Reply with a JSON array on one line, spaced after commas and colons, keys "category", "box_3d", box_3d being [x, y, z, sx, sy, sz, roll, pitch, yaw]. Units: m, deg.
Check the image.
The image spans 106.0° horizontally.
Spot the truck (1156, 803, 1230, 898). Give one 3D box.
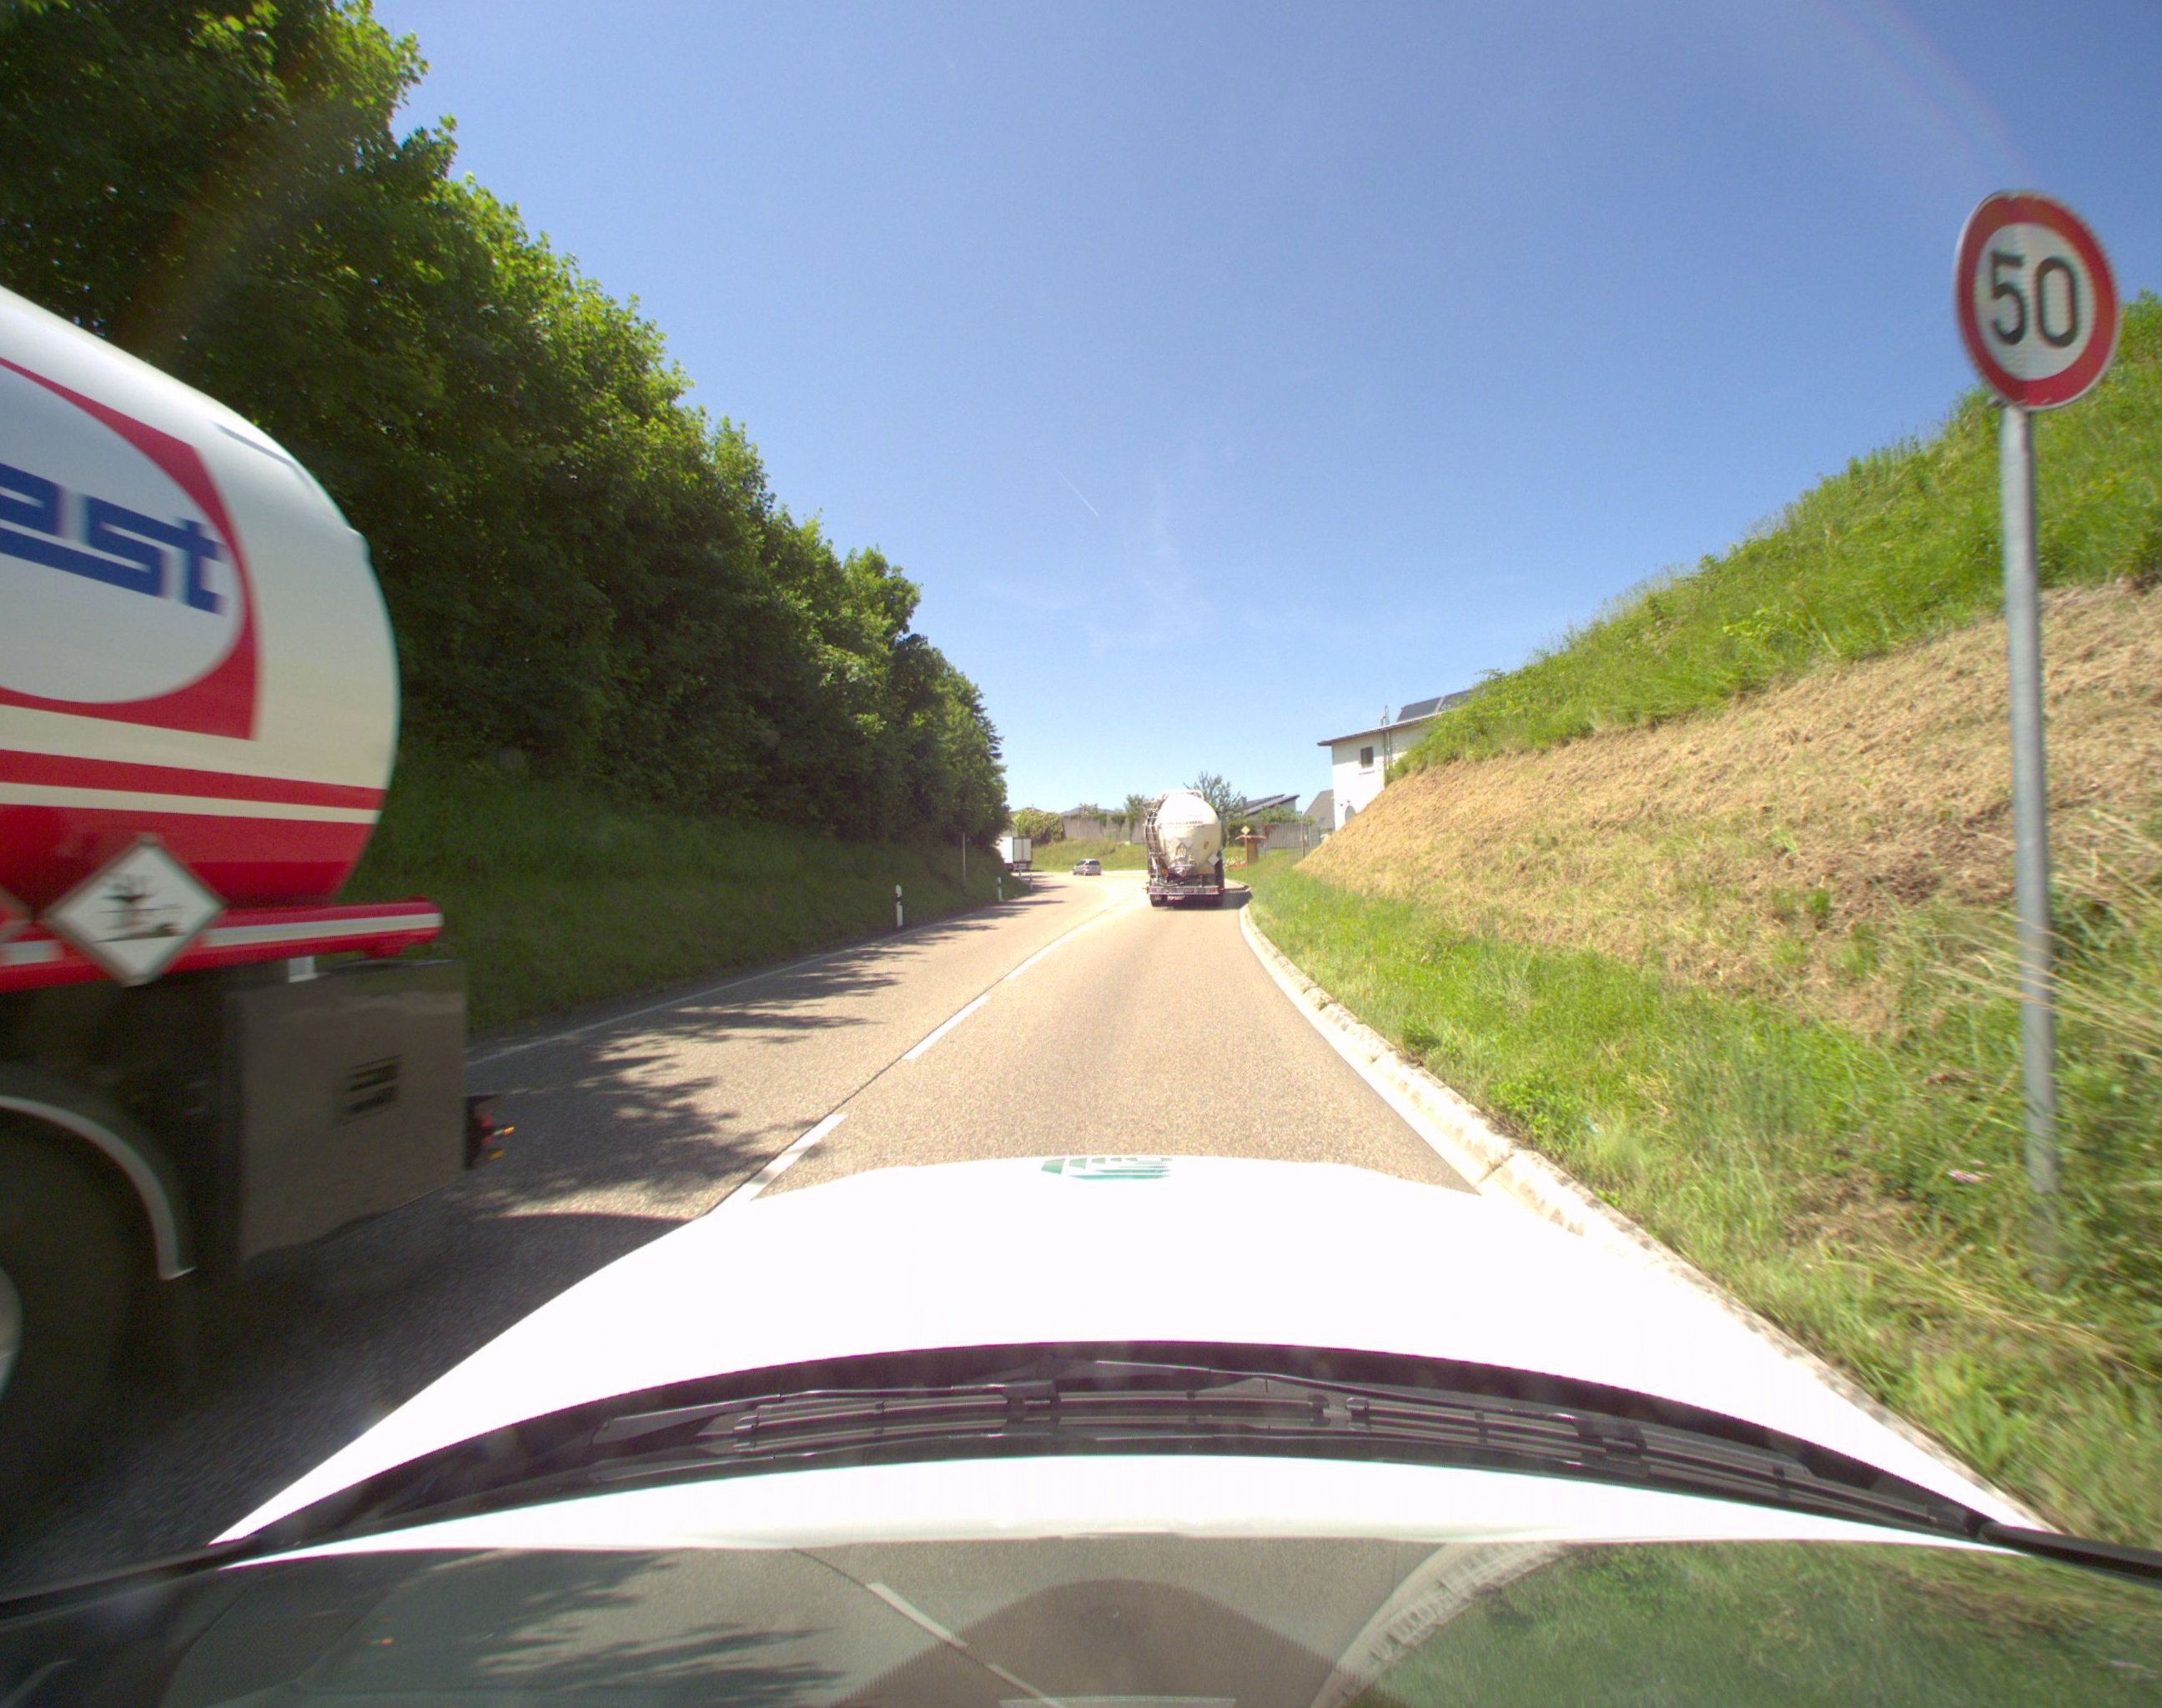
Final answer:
[{"category": "truck", "box_3d": [5.358, -0.042, 37.997, 2.708, 3.930, 7.287, -2, -2, 13]}]

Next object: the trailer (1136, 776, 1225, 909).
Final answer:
[{"category": "trailer", "box_3d": [4.210, -0.262, 31.817, 2.644, 4.189, 11.938, -1, -1, 11]}]

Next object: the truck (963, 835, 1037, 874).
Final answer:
[{"category": "truck", "box_3d": [-9.815, -0.001, 96.904, 3.214, 4.310, 11.671, 3, -1, -36]}]

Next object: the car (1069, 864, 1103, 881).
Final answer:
[{"category": "car", "box_3d": [0.477, 1.763, 77.959, 1.657, 1.510, 3.604, 3, -2, -29]}]
